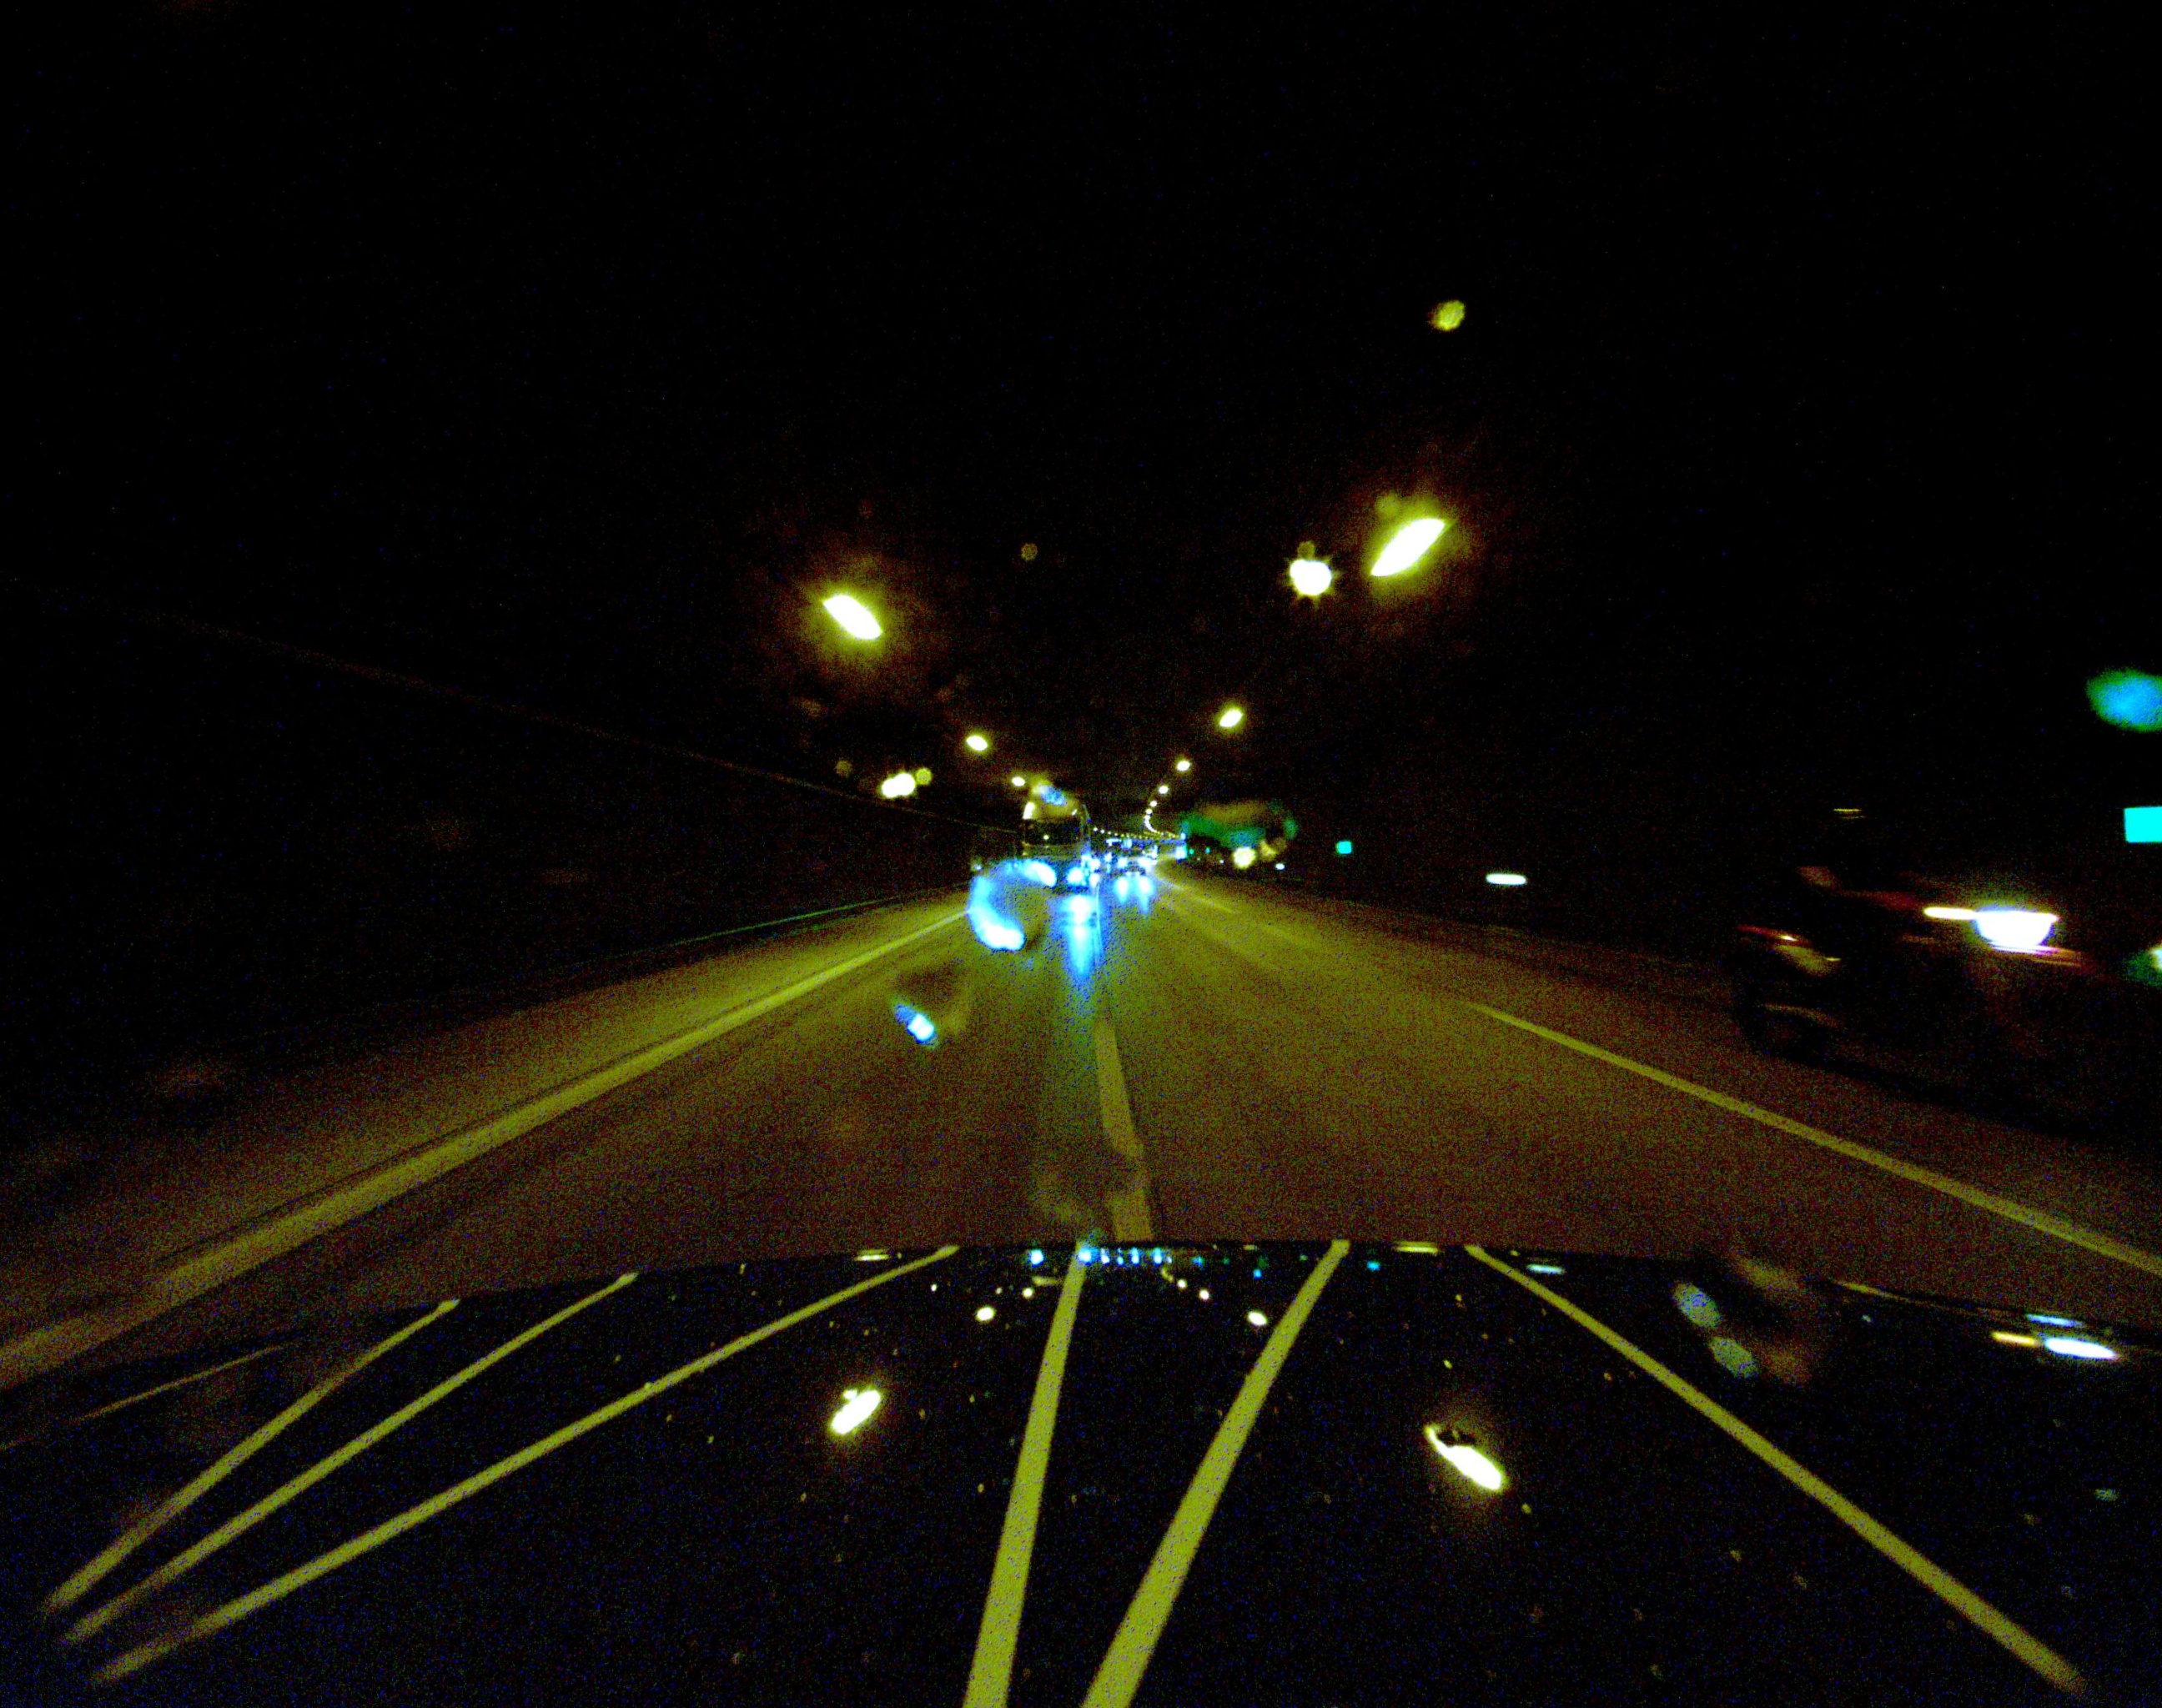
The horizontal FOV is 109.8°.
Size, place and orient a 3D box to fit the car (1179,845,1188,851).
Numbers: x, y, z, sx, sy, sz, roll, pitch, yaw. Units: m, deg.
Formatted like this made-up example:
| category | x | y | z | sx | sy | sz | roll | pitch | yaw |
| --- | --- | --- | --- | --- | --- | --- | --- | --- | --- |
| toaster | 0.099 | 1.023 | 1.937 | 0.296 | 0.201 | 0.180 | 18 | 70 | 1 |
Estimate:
| category | x | y | z | sx | sy | sz | roll | pitch | yaw |
| --- | --- | --- | --- | --- | --- | --- | --- | --- | --- |
| car | 29.772 | -1.759 | 220.560 | 1.996 | 1.788 | 4.003 | -2 | 1 | 13 |

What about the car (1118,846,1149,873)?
| category | x | y | z | sx | sy | sz | roll | pitch | yaw |
| --- | --- | --- | --- | --- | --- | --- | --- | --- | --- |
| car | 3.883 | 0.360 | 56.870 | 1.998 | 1.890 | 4.000 | -2 | 0 | 0 |

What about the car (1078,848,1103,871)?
| category | x | y | z | sx | sy | sz | roll | pitch | yaw |
| --- | --- | --- | --- | --- | --- | --- | --- | --- | --- |
| car | 0.899 | 0.451 | 66.761 | 1.839 | 1.849 | 4.289 | -1 | 1 | 5 |

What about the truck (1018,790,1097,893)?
| category | x | y | z | sx | sy | sz | roll | pitch | yaw |
| --- | --- | --- | --- | --- | --- | --- | --- | --- | --- |
| truck | -0.904 | -0.547 | 34.275 | 2.652 | 4.139 | 6.007 | -2 | 1 | 6 |

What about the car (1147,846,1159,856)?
| category | x | y | z | sx | sy | sz | roll | pitch | yaw |
| --- | --- | --- | --- | --- | --- | --- | --- | --- | --- |
| car | 13.332 | -0.581 | 140.659 | 1.997 | 1.788 | 4.002 | -3 | 1 | 8 |

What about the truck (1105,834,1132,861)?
| category | x | y | z | sx | sy | sz | roll | pitch | yaw |
| --- | --- | --- | --- | --- | --- | --- | --- | --- | --- |
| truck | 5.812 | -0.996 | 116.513 | 2.899 | 3.819 | 9.002 | -3 | 1 | 9 |

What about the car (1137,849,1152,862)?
| category | x | y | z | sx | sy | sz | roll | pitch | yaw |
| --- | --- | --- | --- | --- | --- | --- | --- | --- | --- |
| car | 9.527 | 0.175 | 114.406 | 1.997 | 1.788 | 4.001 | -3 | 1 | 7 |

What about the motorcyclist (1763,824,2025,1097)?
| category | x | y | z | sx | sy | sz | roll | pitch | yaw |
| --- | --- | --- | --- | --- | --- | --- | --- | --- | --- |
| motorcyclist | 4.869 | 0.580 | 4.619 | 0.628 | 1.481 | 0.890 | -2 | 1 | -3 |

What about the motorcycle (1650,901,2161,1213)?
| category | x | y | z | sx | sy | sz | roll | pitch | yaw |
| --- | --- | --- | --- | --- | --- | --- | --- | --- | --- |
| motorcycle | 4.858 | 0.955 | 4.516 | 1.056 | 1.151 | 2.427 | -2 | 1 | -3 |

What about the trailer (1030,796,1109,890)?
| category | x | y | z | sx | sy | sz | roll | pitch | yaw |
| --- | --- | --- | --- | --- | --- | --- | --- | --- | --- |
| trailer | -0.277 | -0.559 | 41.364 | 2.626 | 4.139 | 14.005 | -3 | 0 | 5 |
